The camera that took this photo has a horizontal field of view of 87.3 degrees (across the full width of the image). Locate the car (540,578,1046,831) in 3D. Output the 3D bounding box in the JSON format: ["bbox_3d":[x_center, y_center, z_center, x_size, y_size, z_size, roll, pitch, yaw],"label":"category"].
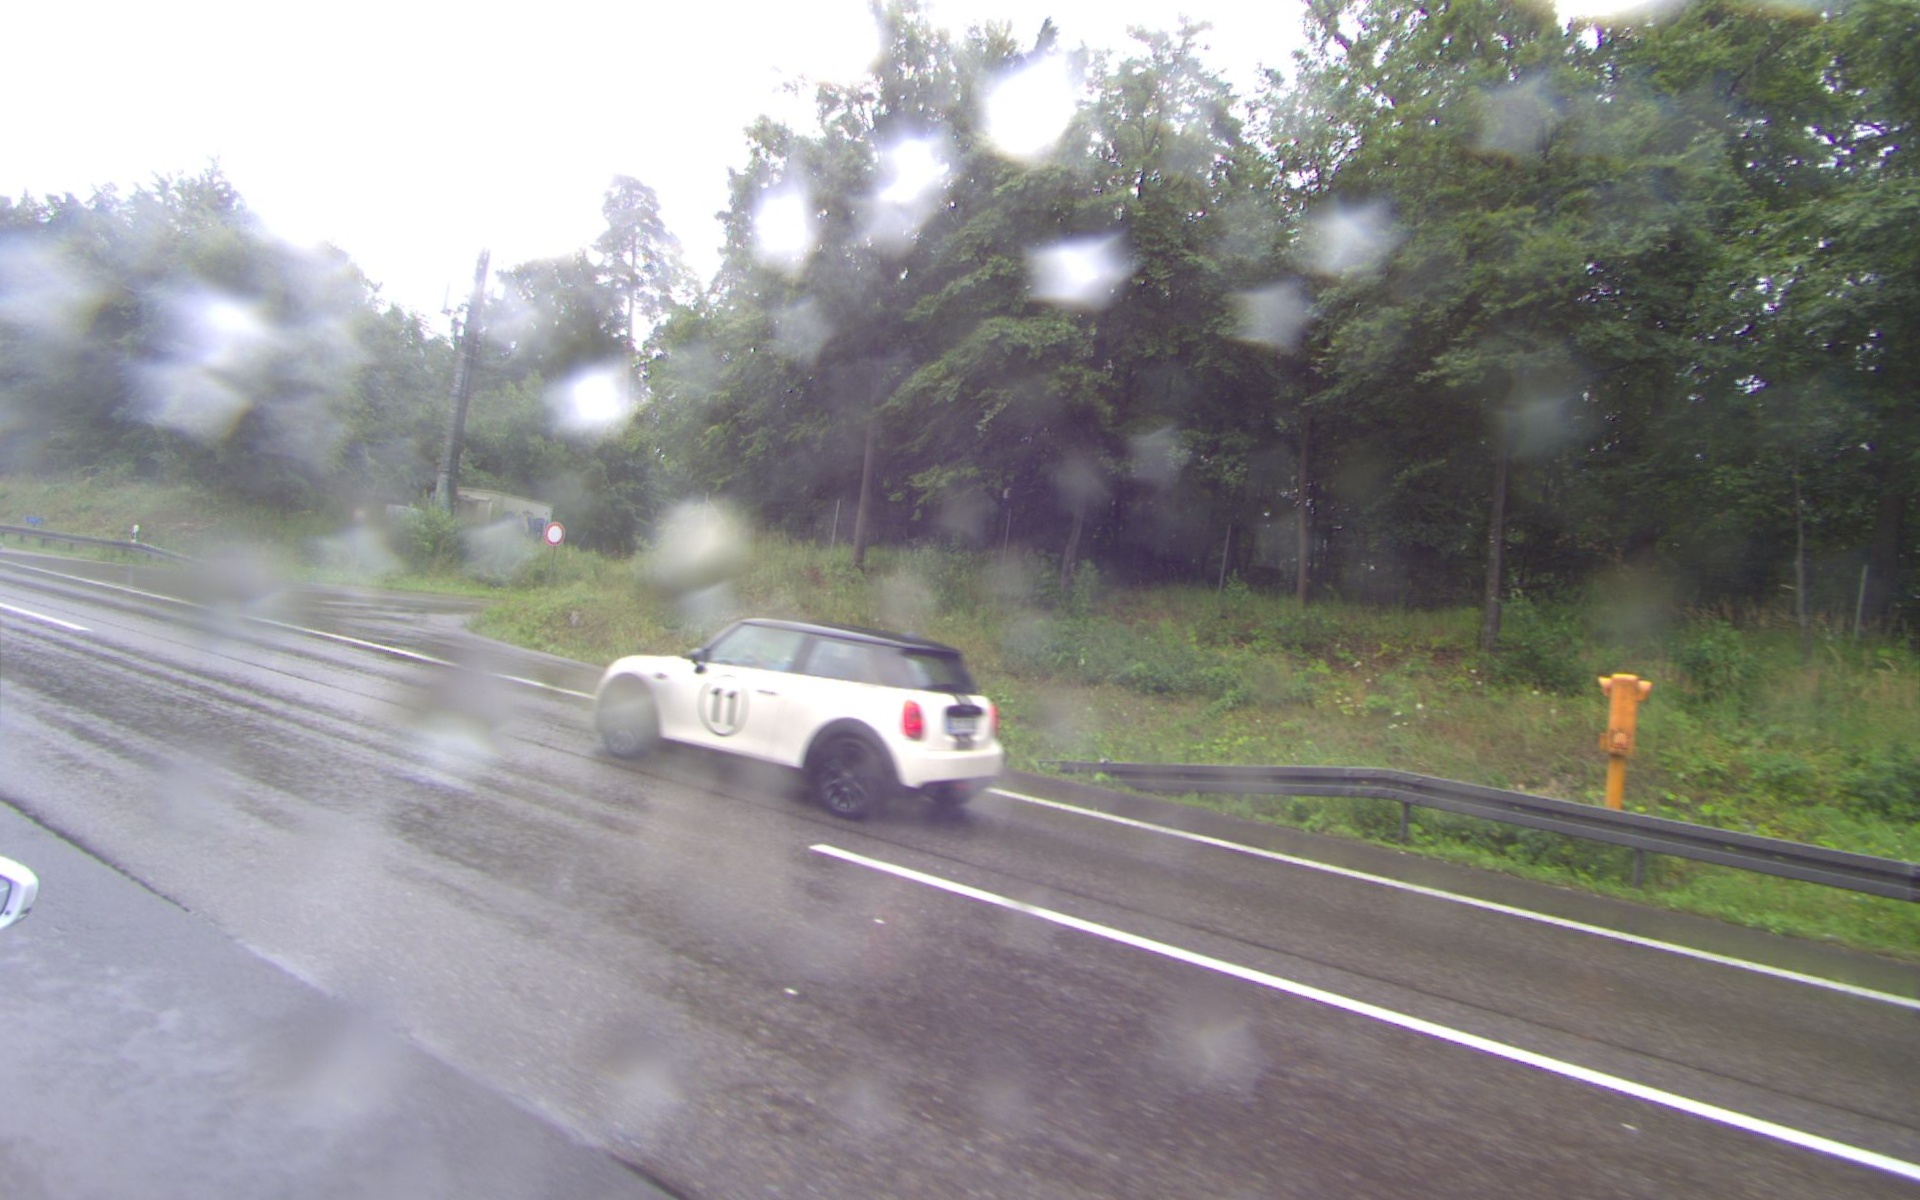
[{"bbox_3d":[-1.562,0.805,8.996,4.156,1.423,1.794,7,-1,31],"label":"car"}]
